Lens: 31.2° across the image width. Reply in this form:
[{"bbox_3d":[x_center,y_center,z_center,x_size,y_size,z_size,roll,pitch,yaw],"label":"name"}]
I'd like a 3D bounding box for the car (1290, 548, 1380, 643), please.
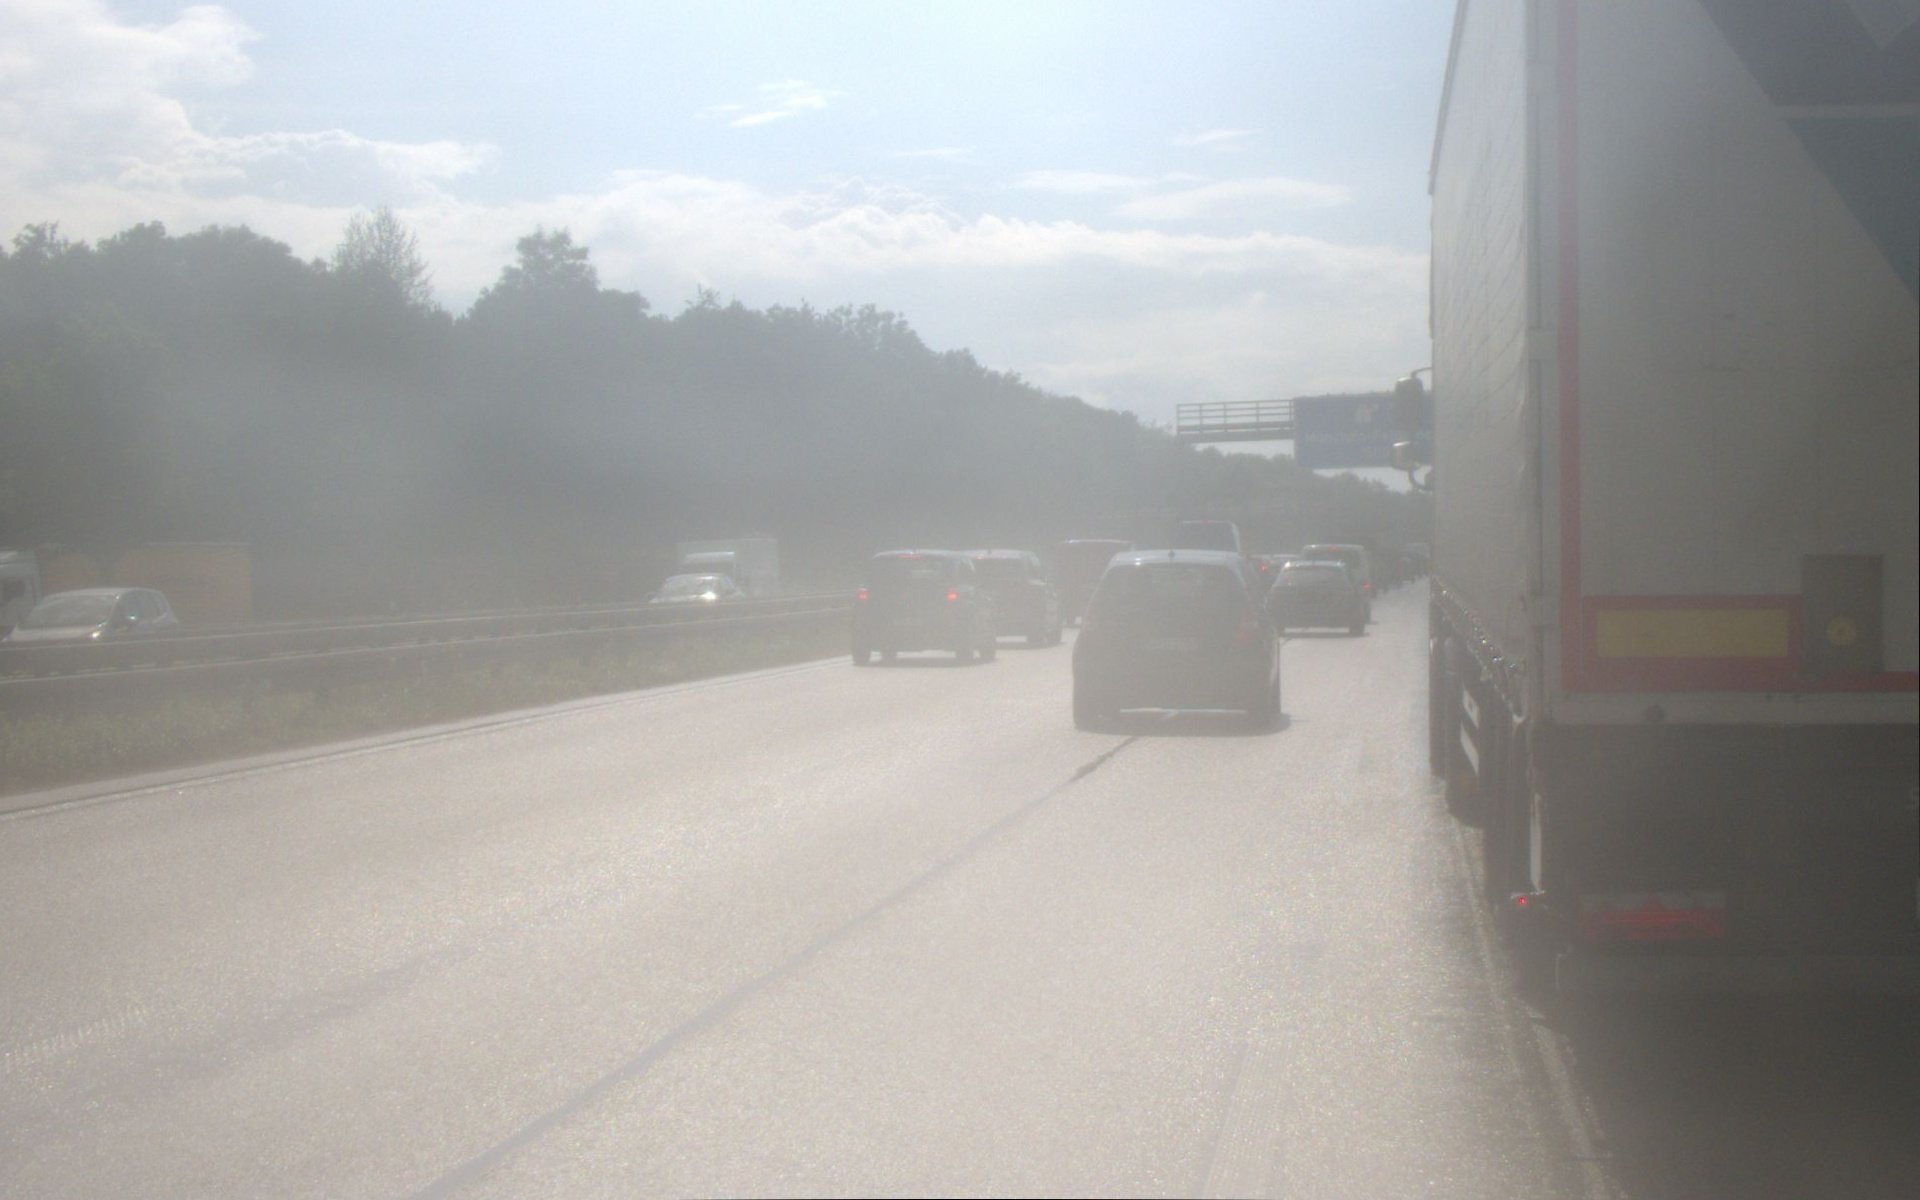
[{"bbox_3d":[7.325,-0.096,67.278,1.693,1.798,3.975,0,0,6],"label":"car"}]

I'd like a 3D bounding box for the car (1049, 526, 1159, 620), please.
[{"bbox_3d":[3.284,-0.607,77.681,1.979,2.047,4.755,0,0,8],"label":"car"}]

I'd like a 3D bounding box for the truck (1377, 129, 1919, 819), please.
[{"bbox_3d":[4.448,-0.760,22.666,3.285,3.877,6.394,1,1,7],"label":"truck"}]

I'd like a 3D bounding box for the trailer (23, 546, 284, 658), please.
[{"bbox_3d":[-30.743,0.058,131.845,3.792,4.103,11.713,0,0,21],"label":"trailer"}]

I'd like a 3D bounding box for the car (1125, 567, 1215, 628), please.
[{"bbox_3d":[5.613,-0.075,91.296,1.994,1.559,4.755,0,0,8],"label":"car"}]

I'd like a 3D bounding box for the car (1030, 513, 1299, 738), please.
[{"bbox_3d":[2.019,0.209,32.381,2.275,1.948,4.820,0,0,6],"label":"car"}]

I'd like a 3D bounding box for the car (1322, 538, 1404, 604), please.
[{"bbox_3d":[9.524,-0.676,81.430,1.865,1.511,3.975,0,0,6],"label":"car"}]

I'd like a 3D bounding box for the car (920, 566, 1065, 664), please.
[{"bbox_3d":[0.610,0.245,59.927,1.909,1.631,4.615,-1,0,8],"label":"car"}]

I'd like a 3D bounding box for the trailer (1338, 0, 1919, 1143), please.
[{"bbox_3d":[3.509,-0.663,15.570,3.285,3.885,14.124,1,1,7],"label":"trailer"}]

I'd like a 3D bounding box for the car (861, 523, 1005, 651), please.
[{"bbox_3d":[-0.361,-0.196,50.736,1.693,1.798,3.975,0,0,6],"label":"car"}]

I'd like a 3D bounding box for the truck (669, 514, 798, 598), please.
[{"bbox_3d":[-7.478,-1.435,114.322,2.843,2.673,7.189,0,0,8],"label":"truck"}]

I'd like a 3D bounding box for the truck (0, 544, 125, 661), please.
[{"bbox_3d":[-33.800,0.075,123.995,3.792,4.103,7.038,0,0,21],"label":"truck"}]

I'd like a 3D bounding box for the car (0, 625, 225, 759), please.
[{"bbox_3d":[-13.139,1.355,52.459,2.301,1.885,4.778,0,0,7],"label":"car"}]

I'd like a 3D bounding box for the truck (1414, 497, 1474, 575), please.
[{"bbox_3d":[23.114,-3.033,164.014,2.776,3.619,5.915,0,0,8],"label":"truck"}]

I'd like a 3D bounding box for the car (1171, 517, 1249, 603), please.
[{"bbox_3d":[7.758,-1.217,106.361,1.994,2.606,5.257,0,0,8],"label":"car"}]

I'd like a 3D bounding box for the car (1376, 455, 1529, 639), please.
[{"bbox_3d":[16.605,-1.702,117.194,4.405,5.810,16.814,0,0,6],"label":"car"}]
